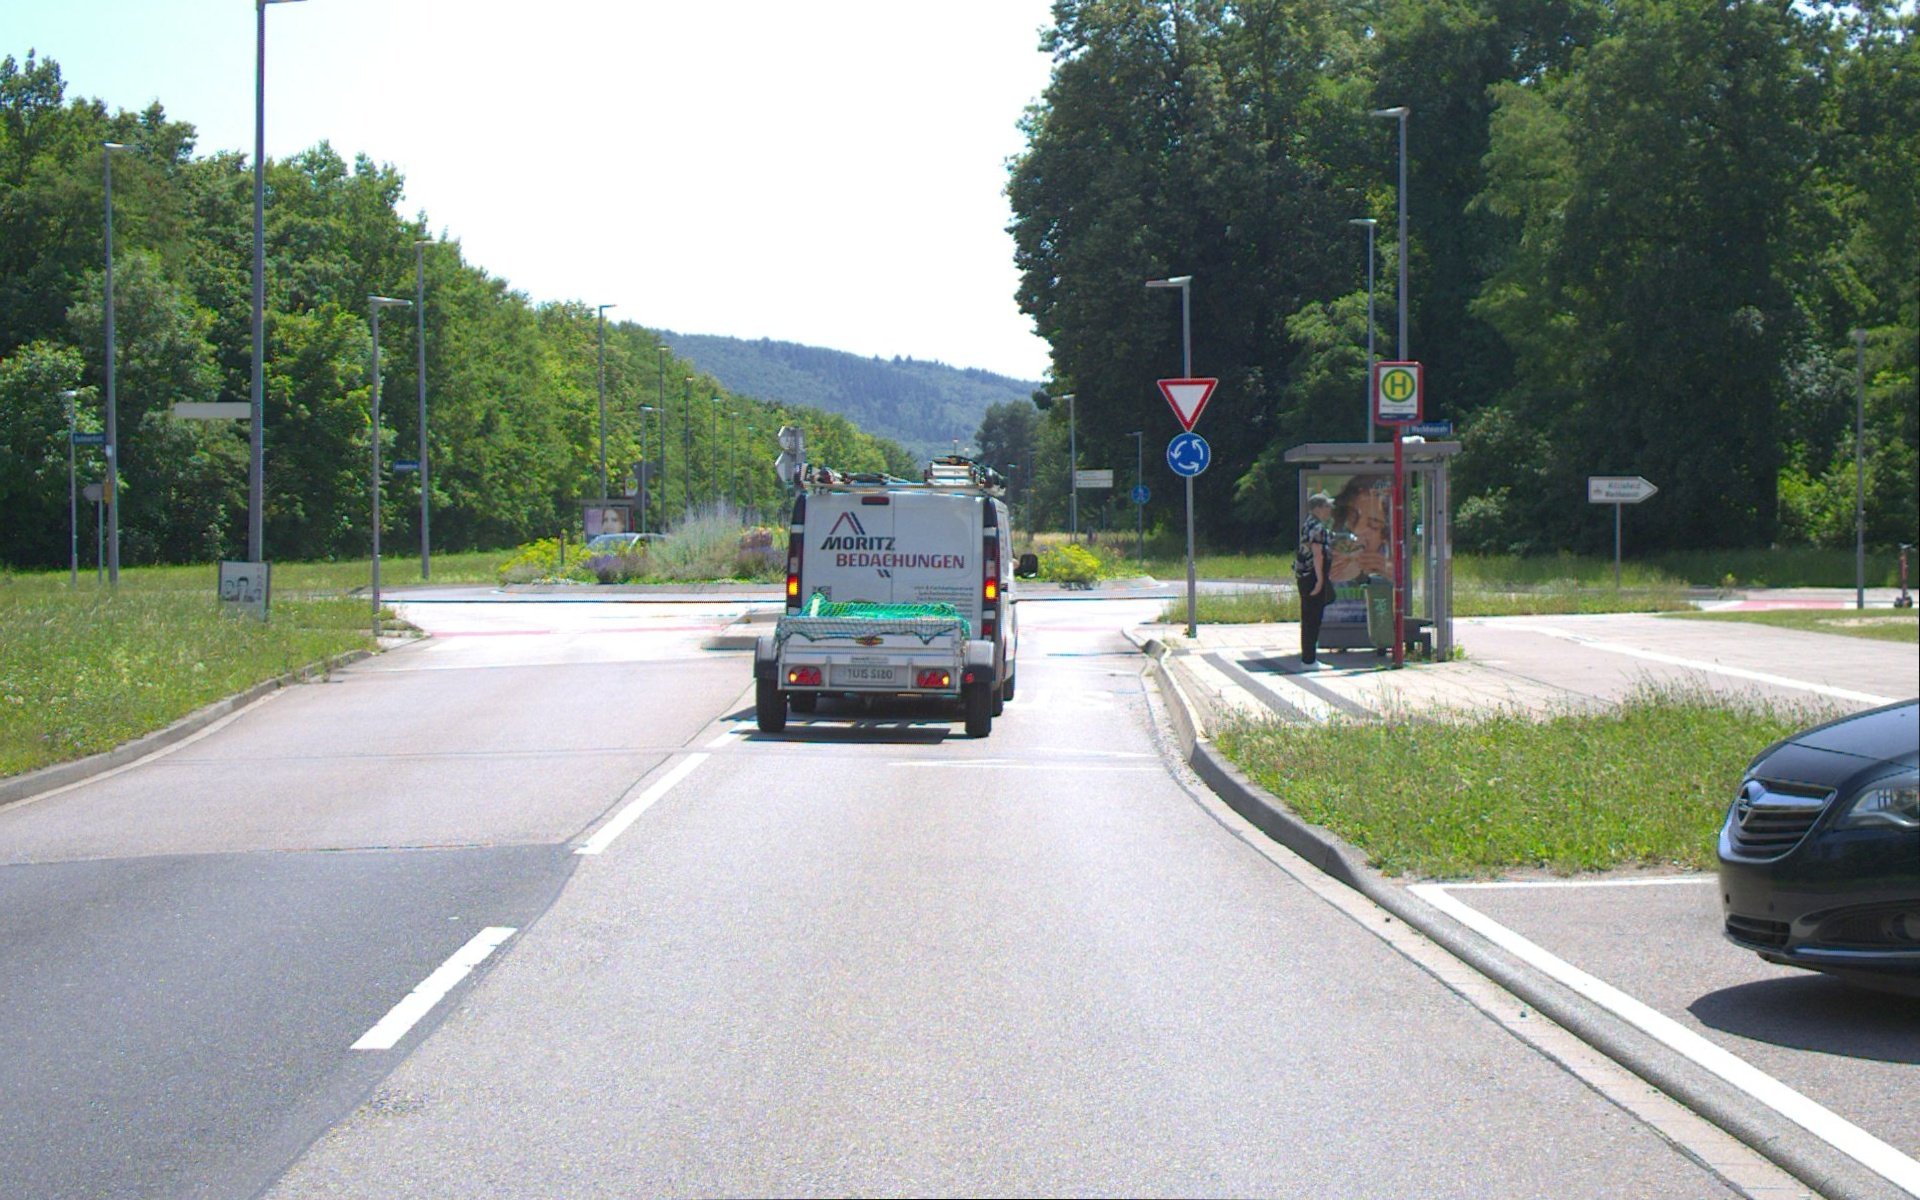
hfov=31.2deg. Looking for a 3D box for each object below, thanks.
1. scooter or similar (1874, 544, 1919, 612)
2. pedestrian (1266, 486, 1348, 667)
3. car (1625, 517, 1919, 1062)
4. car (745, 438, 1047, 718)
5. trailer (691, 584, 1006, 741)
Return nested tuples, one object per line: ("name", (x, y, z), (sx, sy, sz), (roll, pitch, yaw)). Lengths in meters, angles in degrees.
("scooter or similar", (16.795, -0.396, 61.623), (0.447, 1.197, 1.396), (1, 1, 28))
("pedestrian", (3.552, -0.246, 35.263), (0.708, 1.816, 0.826), (-2, 1, 1))
("car", (4.431, 0.413, 10.044), (4.567, 1.427, 1.828), (-2, 1, -1))
("car", (-0.476, -0.223, 31.203), (2.166, 2.308, 4.980), (1, 1, 5))
("trailer", (-0.805, 0.451, 27.031), (2.121, 1.093, 3.354), (1, 1, 4))
